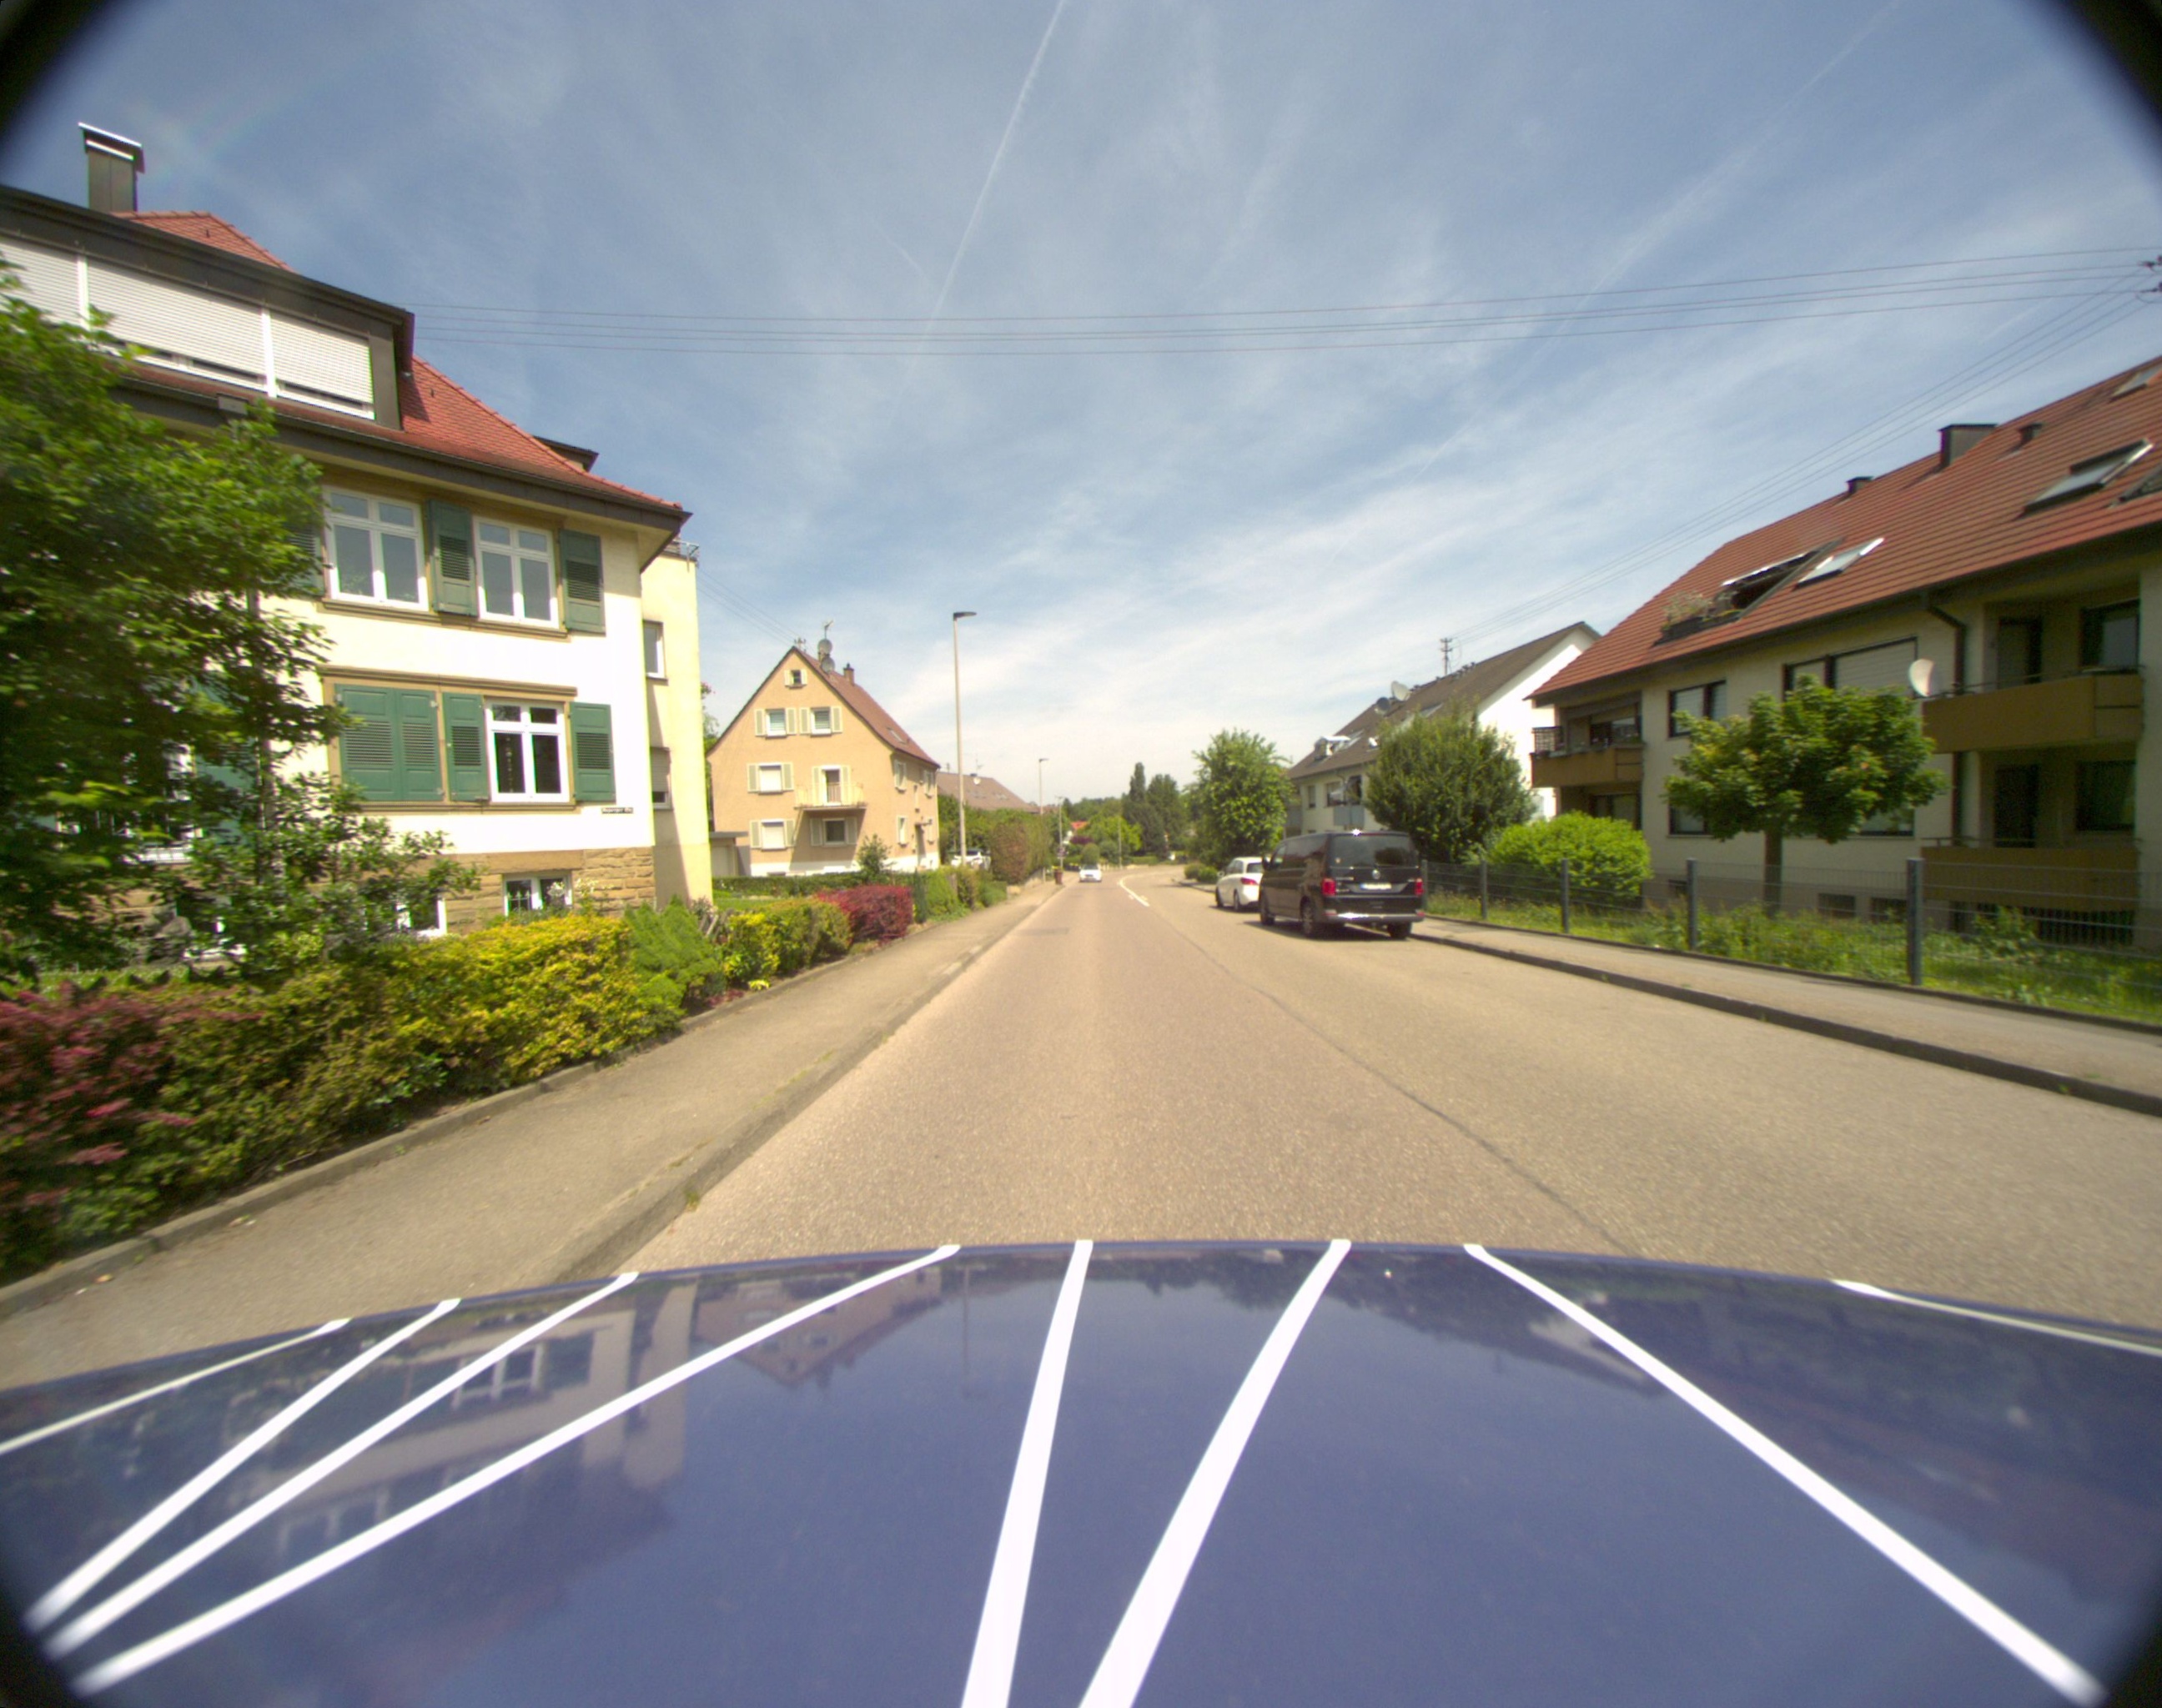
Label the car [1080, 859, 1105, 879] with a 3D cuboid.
[{"bbox_3d":[0.948,1.214,63.685,1.827,1.543,3.999,-1,0,-2],"label":"car"}]

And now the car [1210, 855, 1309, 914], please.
[{"bbox_3d":[5.176,0.855,22.610,1.816,1.540,4.243,-2,0,-1],"label":"car"}]

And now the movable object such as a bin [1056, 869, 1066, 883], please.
[{"bbox_3d":[-1.396,1.515,53.129,0.589,0.972,0.786,1,0,1],"label":"movable object such as a bin"}]

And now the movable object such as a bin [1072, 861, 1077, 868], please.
[{"bbox_3d":[-0.913,1.419,103.048,0.484,1.016,0.565,2,2,22],"label":"movable object such as a bin"}]

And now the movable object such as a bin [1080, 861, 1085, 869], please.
[{"bbox_3d":[0.237,1.438,102.585,0.485,1.064,0.565,-1,1,22],"label":"movable object such as a bin"}]

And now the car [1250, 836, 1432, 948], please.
[{"bbox_3d":[4.968,0.667,15.341,1.901,1.909,4.870,0,0,-1],"label":"car"}]

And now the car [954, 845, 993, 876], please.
[{"bbox_3d":[-6.002,0.335,42.679,1.609,1.474,3.557,-2,3,1],"label":"car"}]

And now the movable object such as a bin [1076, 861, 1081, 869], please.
[{"bbox_3d":[-0.308,1.468,102.831,0.484,1.016,0.565,2,2,22],"label":"movable object such as a bin"}]

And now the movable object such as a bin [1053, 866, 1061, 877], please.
[{"bbox_3d":[-2.195,1.592,69.766,0.589,1.052,0.920,-1,0,4],"label":"movable object such as a bin"}]

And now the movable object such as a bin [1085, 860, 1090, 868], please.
[{"bbox_3d":[0.862,1.366,102.397,0.485,1.101,0.565,-1,1,15],"label":"movable object such as a bin"}]
